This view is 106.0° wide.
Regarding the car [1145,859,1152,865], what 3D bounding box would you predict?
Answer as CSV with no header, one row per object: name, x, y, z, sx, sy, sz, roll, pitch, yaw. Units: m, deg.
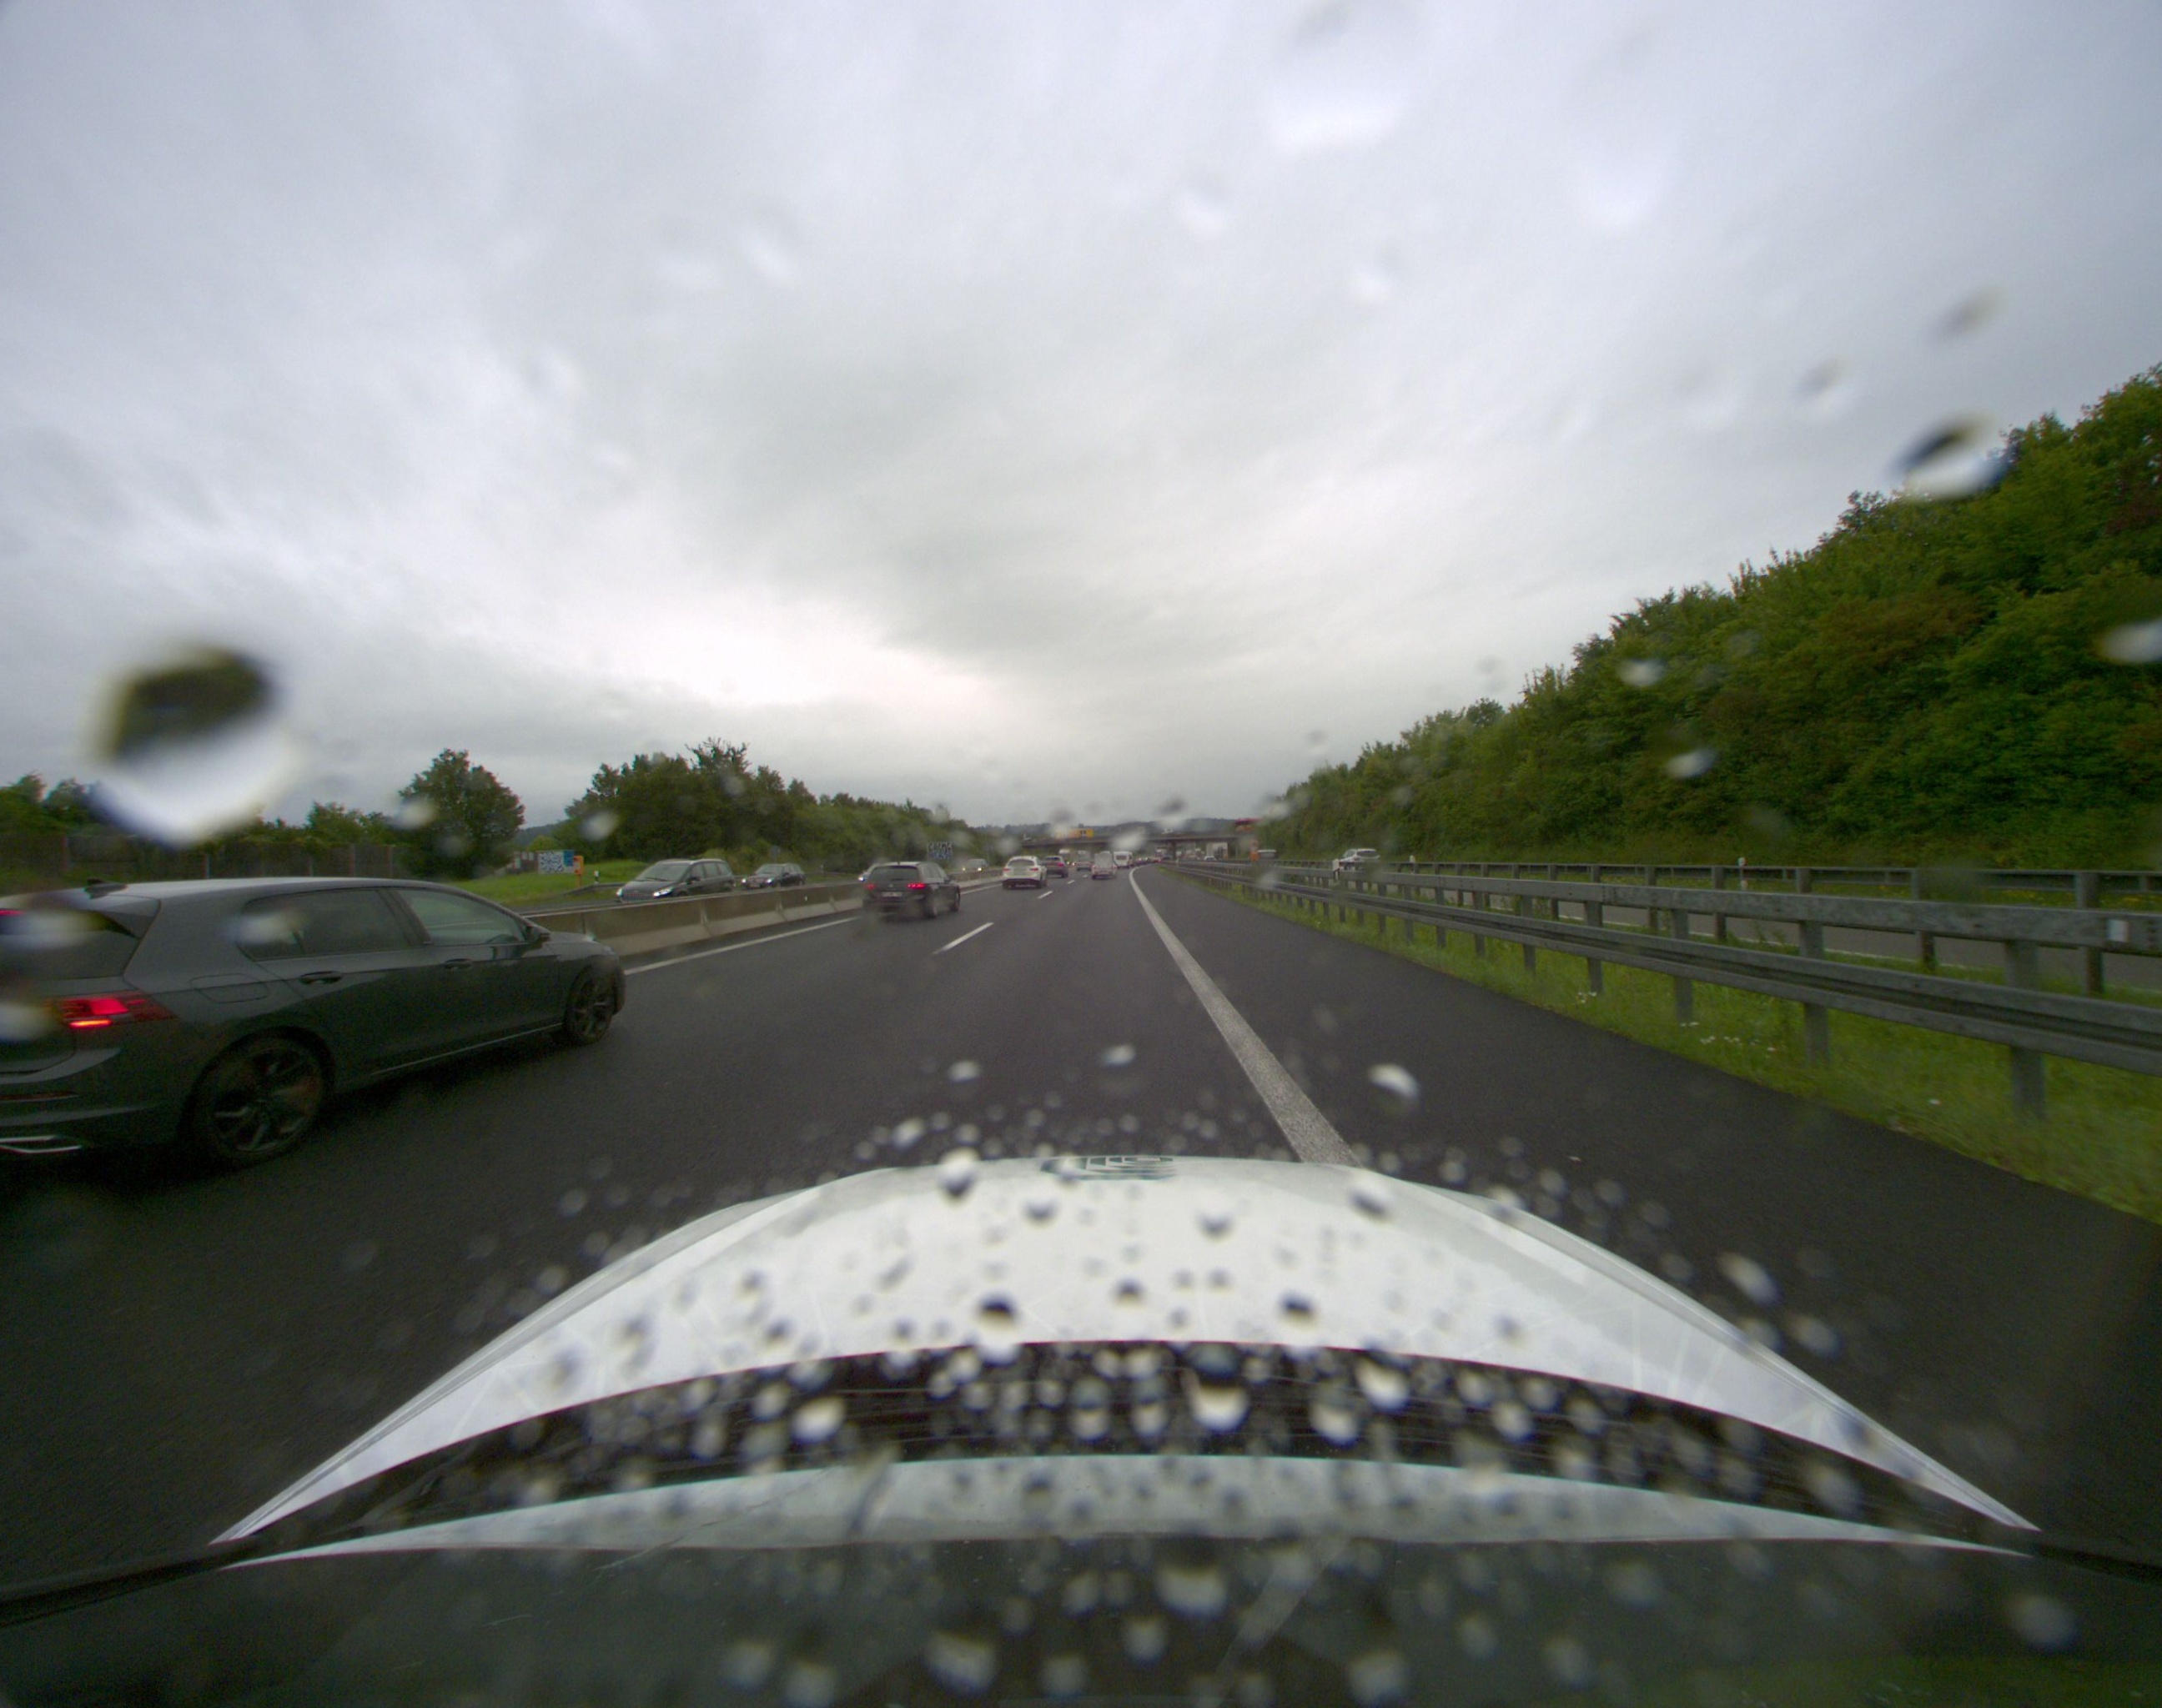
car,19.987,2.276,241.005,1.985,1.750,4.004,0,0,4

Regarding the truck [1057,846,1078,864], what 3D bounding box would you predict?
truck,-3.088,0.197,191.016,3.749,3.992,13.203,-1,0,4

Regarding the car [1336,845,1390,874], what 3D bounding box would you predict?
car,17.008,0.323,49.287,1.889,1.612,4.148,-1,0,2

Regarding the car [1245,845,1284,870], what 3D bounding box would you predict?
car,14.115,0.260,62.982,2.002,1.815,4.275,-1,0,-1

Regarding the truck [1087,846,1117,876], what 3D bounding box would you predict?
truck,1.589,0.478,59.307,2.011,1.985,7.216,-1,0,2

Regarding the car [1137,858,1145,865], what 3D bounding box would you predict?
car,15.464,1.895,209.119,1.985,1.750,4.003,0,0,3

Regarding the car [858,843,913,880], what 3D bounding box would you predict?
car,-10.631,0.395,44.556,1.987,1.902,4.173,0,0,0

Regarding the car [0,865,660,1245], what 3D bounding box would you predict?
car,-5.015,0.842,5.446,1.893,1.405,4.462,-1,0,2

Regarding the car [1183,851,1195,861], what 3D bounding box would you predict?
car,20.336,0.308,153.820,1.852,1.805,4.652,-1,0,3

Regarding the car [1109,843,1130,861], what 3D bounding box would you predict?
car,5.766,-0.300,122.607,3.004,2.616,6.080,-1,0,3

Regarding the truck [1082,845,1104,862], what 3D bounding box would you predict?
truck,2.677,-0.147,176.020,3.749,3.554,13.203,-1,0,4

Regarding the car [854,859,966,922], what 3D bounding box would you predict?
car,-4.517,0.915,22.268,1.893,1.497,4.852,-1,-1,1

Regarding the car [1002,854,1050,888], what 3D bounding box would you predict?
car,-2.754,0.833,41.823,1.968,1.639,4.503,-1,0,2

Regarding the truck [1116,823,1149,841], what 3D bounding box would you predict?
truck,14.442,-6.186,230.194,3.795,4.836,9.933,-1,0,-36

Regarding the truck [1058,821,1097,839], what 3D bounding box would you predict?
truck,-1.145,-7.396,252.697,3.795,4.836,15.076,-1,0,-36

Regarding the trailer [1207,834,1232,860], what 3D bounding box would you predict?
trailer,23.955,-1.177,141.471,3.421,4.289,10.467,-1,0,5

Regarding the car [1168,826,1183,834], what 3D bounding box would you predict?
car,24.881,-6.221,214.973,1.852,1.915,3.955,0,0,-37

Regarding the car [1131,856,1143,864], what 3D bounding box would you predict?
car,11.539,1.267,168.082,1.988,1.750,3.998,0,0,-1

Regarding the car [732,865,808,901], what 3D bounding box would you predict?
car,-15.541,1.400,40.971,1.975,1.614,4.423,-1,0,2

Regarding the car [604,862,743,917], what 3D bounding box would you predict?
car,-12.861,1.059,26.111,1.975,1.506,4.639,-1,0,2

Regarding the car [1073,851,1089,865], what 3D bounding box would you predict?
car,0.044,0.447,99.819,1.894,1.613,4.017,-1,0,0

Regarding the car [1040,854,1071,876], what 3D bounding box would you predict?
car,-2.016,0.822,64.720,2.166,1.631,4.502,-1,0,1
